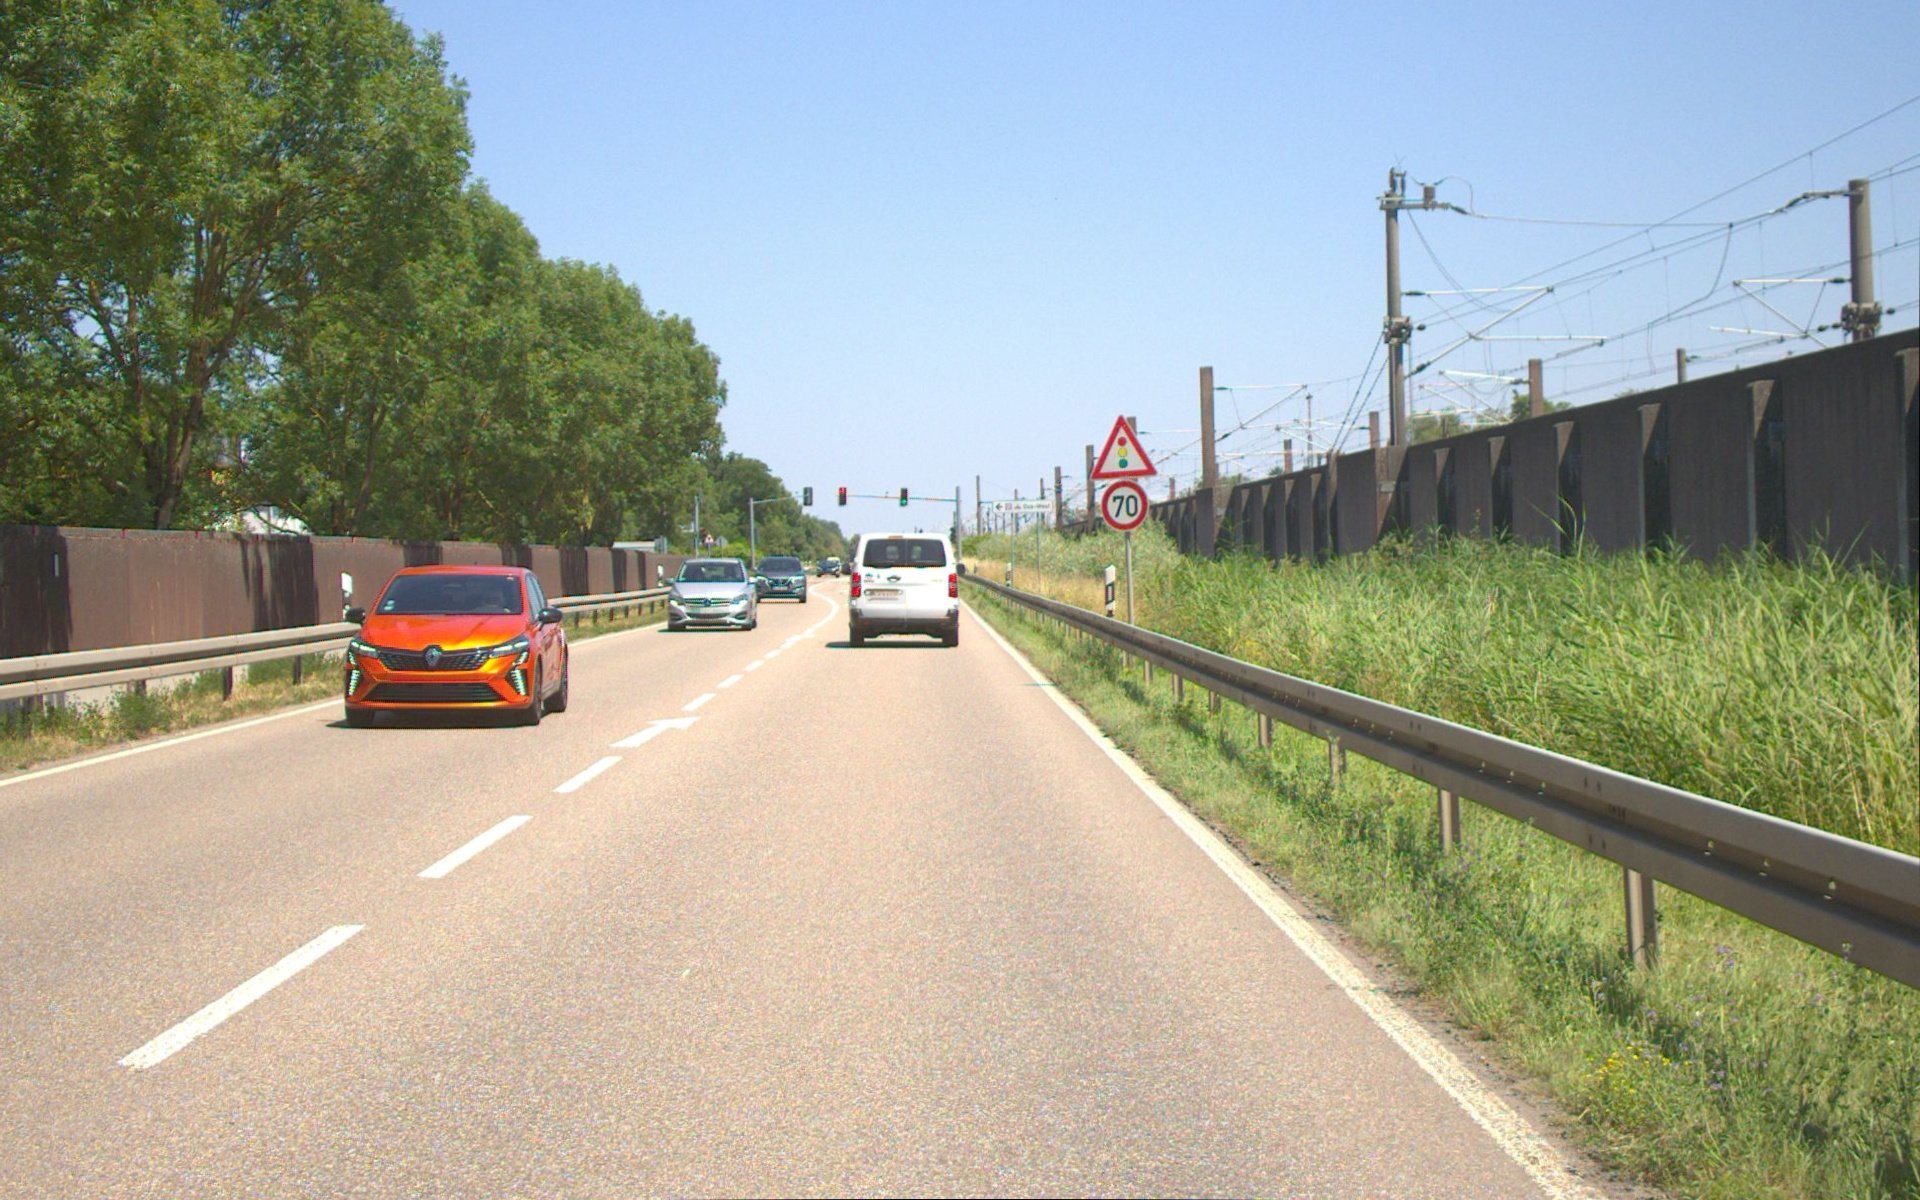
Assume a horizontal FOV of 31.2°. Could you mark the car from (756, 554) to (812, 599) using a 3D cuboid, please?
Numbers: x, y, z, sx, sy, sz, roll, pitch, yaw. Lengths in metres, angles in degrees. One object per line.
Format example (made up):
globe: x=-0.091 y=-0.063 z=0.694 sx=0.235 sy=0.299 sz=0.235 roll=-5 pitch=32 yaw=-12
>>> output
car: x=-6.002 y=-0.808 z=117.795 sx=1.789 sy=1.520 sz=4.390 roll=0 pitch=1 yaw=-1

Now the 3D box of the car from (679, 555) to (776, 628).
car: x=-4.956 y=-0.200 z=73.768 sx=1.789 sy=1.520 sz=4.390 roll=0 pitch=1 yaw=0

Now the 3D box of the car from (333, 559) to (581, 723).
car: x=-4.579 y=0.328 z=31.818 sx=1.789 sy=1.417 sz=4.000 roll=0 pitch=1 yaw=-1

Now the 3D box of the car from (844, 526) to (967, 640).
car: x=-0.922 y=-0.306 z=58.693 sx=1.993 sy=1.843 sz=4.000 roll=1 pitch=1 yaw=-1
